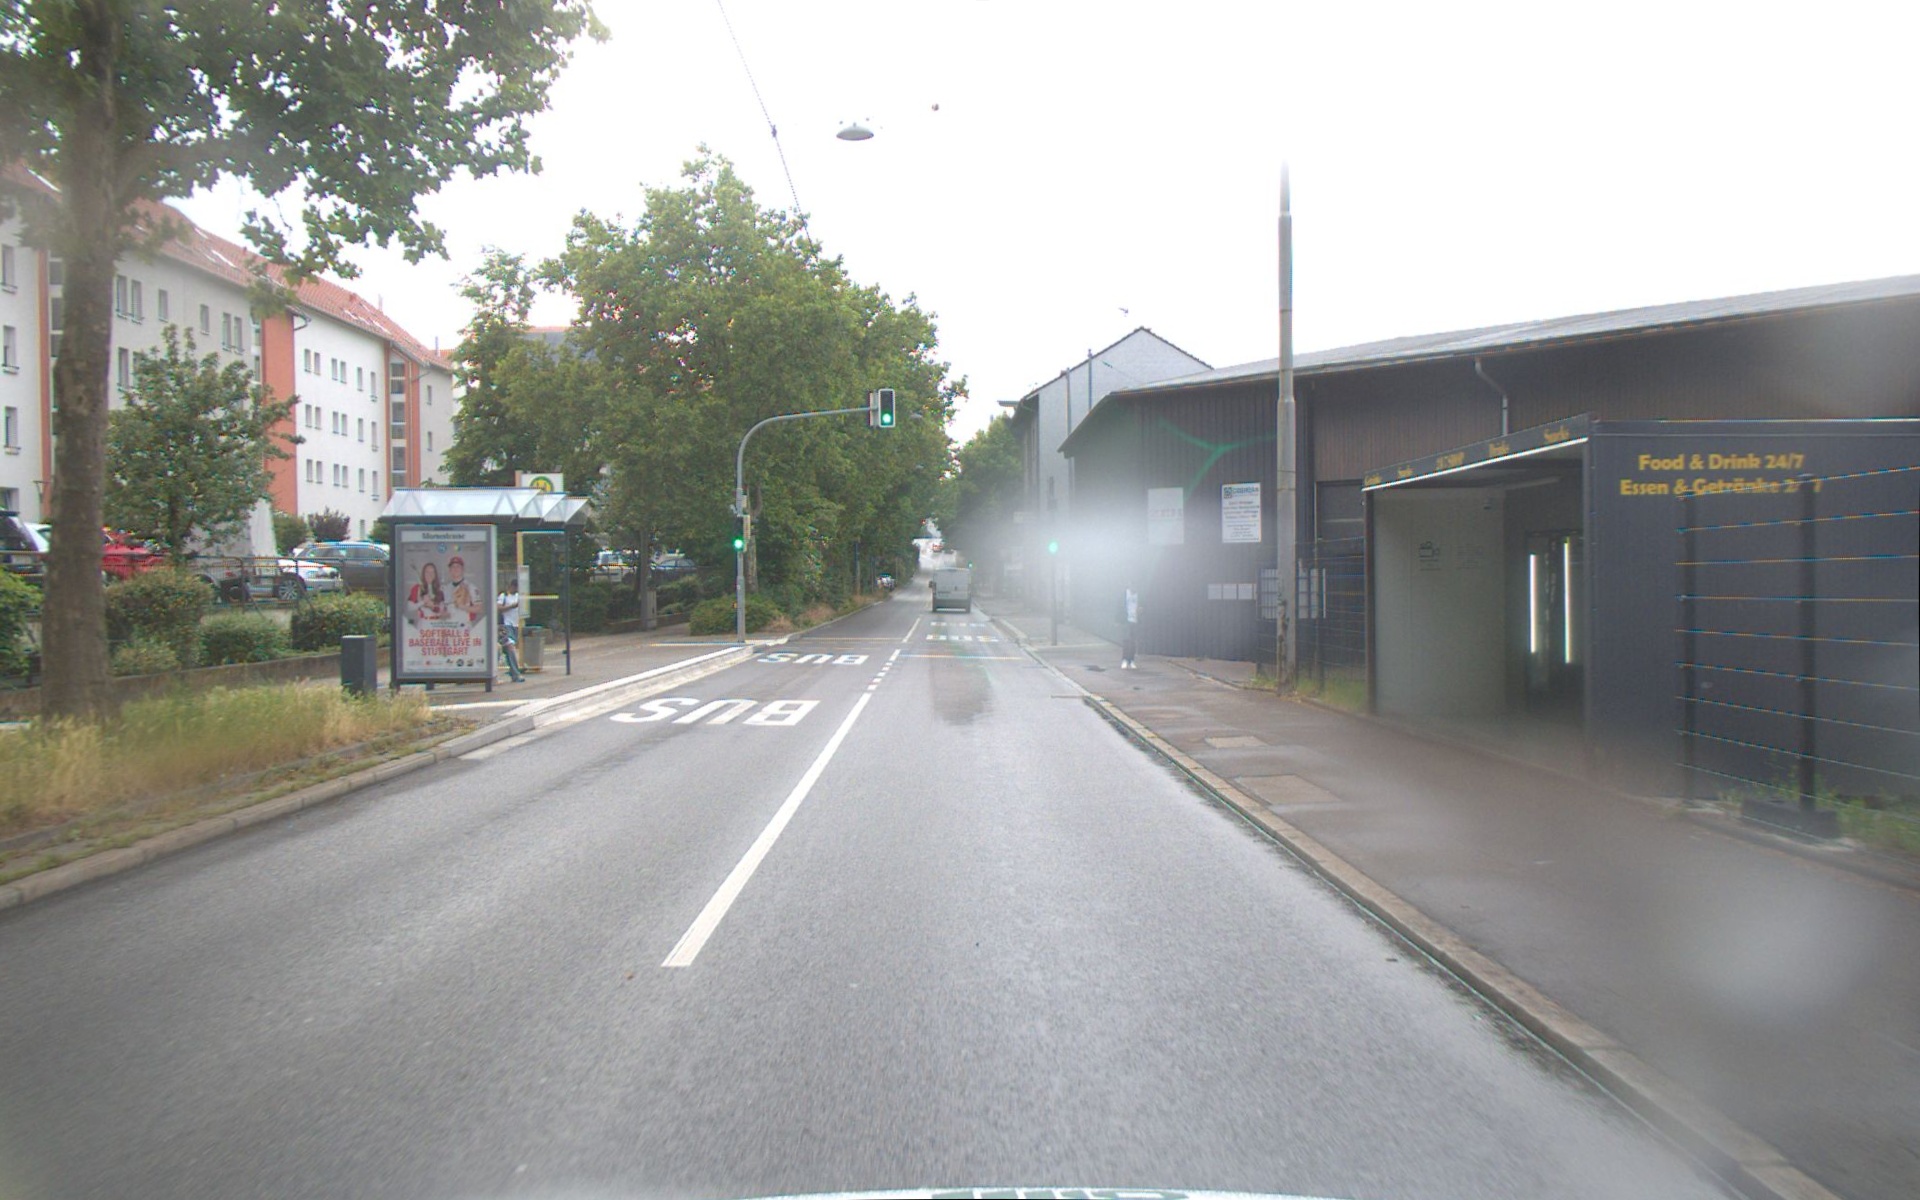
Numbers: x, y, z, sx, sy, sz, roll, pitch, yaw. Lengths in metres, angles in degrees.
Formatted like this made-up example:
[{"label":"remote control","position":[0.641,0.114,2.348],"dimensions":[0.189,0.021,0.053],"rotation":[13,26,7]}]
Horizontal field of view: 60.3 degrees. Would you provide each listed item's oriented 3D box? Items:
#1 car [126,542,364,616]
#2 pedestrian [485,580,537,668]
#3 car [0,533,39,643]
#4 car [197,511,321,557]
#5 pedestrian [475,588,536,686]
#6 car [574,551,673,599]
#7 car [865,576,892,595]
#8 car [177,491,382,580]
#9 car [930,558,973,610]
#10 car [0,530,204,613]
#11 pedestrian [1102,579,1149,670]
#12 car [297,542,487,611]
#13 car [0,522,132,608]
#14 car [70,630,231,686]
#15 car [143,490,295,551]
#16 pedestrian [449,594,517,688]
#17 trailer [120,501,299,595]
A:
[{"label":"car","position":[-15.306,-0.431,35.563],"dimensions":[4.267,1.449,1.859],"rotation":[1,-1,-1]},{"label":"pedestrian","position":[-8.590,0.464,31.684],"dimensions":[0.726,1.626,0.606],"rotation":[-4,-2,3]},{"label":"car","position":[-15.262,-0.206,23.881],"dimensions":[3.066,1.570,1.436],"rotation":[1,-1,-1]},{"label":"car","position":[-23.897,-2.248,56.492],"dimensions":[3.526,1.418,1.542],"rotation":[1,-1,-3]},{"label":"pedestrian","position":[-6.885,0.561,25.080],"dimensions":[0.673,1.443,0.641],"rotation":[-3,-1,3]},{"label":"car","position":[-14.914,-1.103,73.458],"dimensions":[4.085,2.049,1.718],"rotation":[1,0,-3]},{"label":"car","position":[-7.553,-1.319,153.779],"dimensions":[2.170,1.620,4.610],"rotation":[1,-1,2]},{"label":"car","position":[-13.764,-1.282,33.596],"dimensions":[3.438,1.727,1.705],"rotation":[0,0,-1]},{"label":"car","position":[-0.436,-0.820,87.030],"dimensions":[2.236,2.597,3.999],"rotation":[0,-1,0]},{"label":"car","position":[-15.617,-0.494,28.835],"dimensions":[4.005,1.325,1.809],"rotation":[1,-1,-1]},{"label":"pedestrian","position":[3.221,0.480,32.243],"dimensions":[0.728,1.734,0.900],"rotation":[1,-1,-6]},{"label":"car","position":[-15.412,-0.614,45.053],"dimensions":[4.453,1.701,1.999],"rotation":[1,-1,-2]},{"label":"car","position":[-15.156,-0.557,26.425],"dimensions":[3.066,1.292,1.436],"rotation":[1,-1,-1]},{"label":"car","position":[-23.295,1.660,47.685],"dimensions":[3.733,1.538,1.717],"rotation":[1,-1,-3]},{"label":"car","position":[-22.137,-2.369,49.501],"dimensions":[3.733,1.630,1.717],"rotation":[1,-1,-3]},{"label":"pedestrian","position":[-7.016,0.605,24.335],"dimensions":[0.759,1.340,0.641],"rotation":[-2,-1,3]},{"label":"trailer","position":[-14.098,-0.962,31.152],"dimensions":[2.649,1.674,1.480],"rotation":[1,0,0]}]
